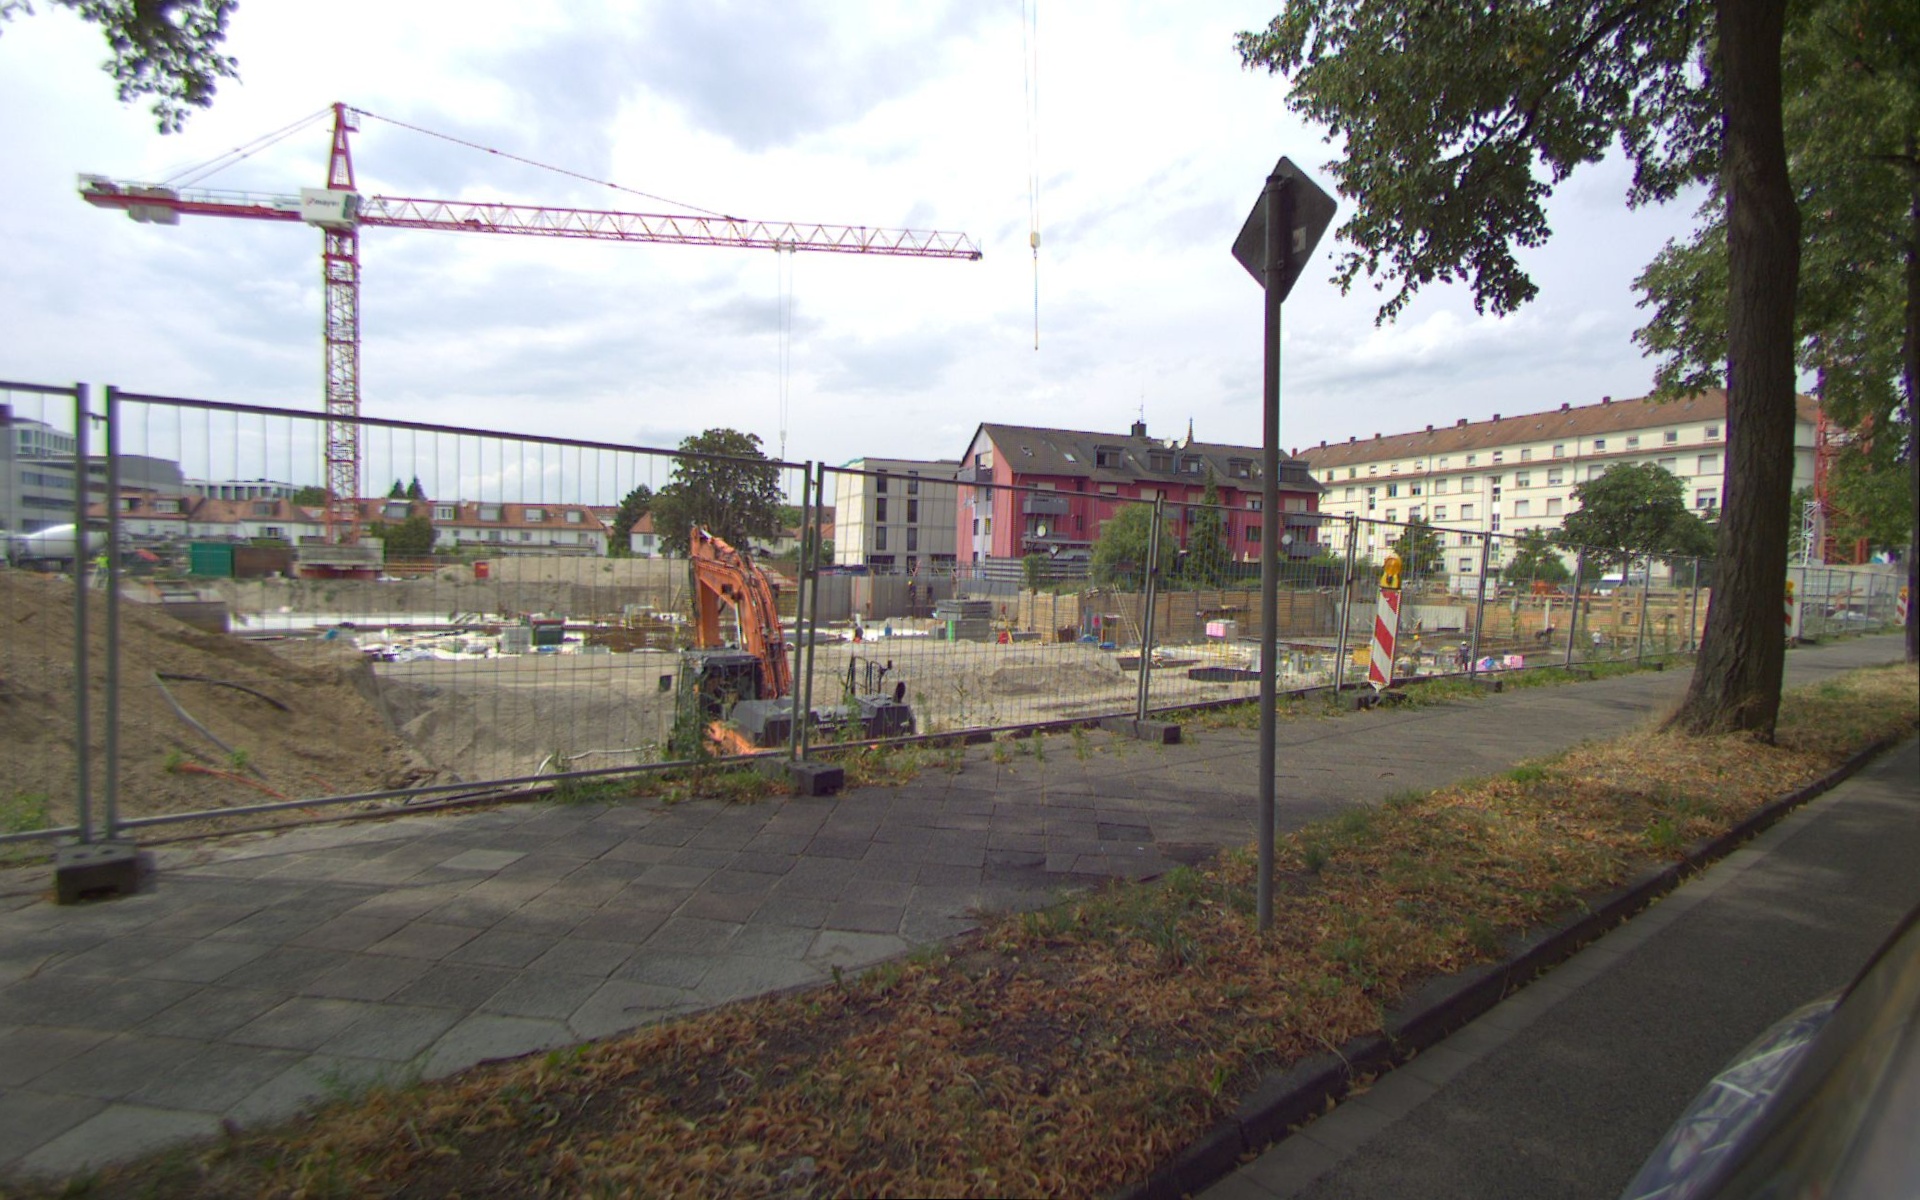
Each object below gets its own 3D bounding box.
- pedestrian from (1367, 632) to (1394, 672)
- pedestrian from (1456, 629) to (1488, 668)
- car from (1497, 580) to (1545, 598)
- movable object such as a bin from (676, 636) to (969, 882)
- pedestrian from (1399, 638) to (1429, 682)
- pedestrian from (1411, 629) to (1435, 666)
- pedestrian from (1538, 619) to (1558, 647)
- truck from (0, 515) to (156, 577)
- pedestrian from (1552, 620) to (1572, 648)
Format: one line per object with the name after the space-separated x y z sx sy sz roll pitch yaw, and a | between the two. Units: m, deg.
19.389 2.407 46.681 0.828 1.743 0.722 2 2 -6 | pedestrian
24.172 2.288 47.793 0.965 1.743 0.845 2 2 2 | pedestrian
52.447 -1.031 94.588 3.836 1.609 1.804 -1 0 -20 | car
-2.315 2.097 15.444 3.068 2.621 4.708 1 3 -26 | movable object such as a bin
19.036 2.513 42.434 0.705 1.743 0.847 1 3 -24 | pedestrian
22.961 2.353 50.173 0.707 1.743 0.845 2 2 2 | pedestrian
39.104 2.193 67.270 0.706 1.743 0.846 2 2 -3 | pedestrian
-64.947 -3.926 73.300 10.060 4.183 3.357 0 3 -29 | truck
39.973 2.248 67.253 0.706 1.743 0.846 2 2 -3 | pedestrian
